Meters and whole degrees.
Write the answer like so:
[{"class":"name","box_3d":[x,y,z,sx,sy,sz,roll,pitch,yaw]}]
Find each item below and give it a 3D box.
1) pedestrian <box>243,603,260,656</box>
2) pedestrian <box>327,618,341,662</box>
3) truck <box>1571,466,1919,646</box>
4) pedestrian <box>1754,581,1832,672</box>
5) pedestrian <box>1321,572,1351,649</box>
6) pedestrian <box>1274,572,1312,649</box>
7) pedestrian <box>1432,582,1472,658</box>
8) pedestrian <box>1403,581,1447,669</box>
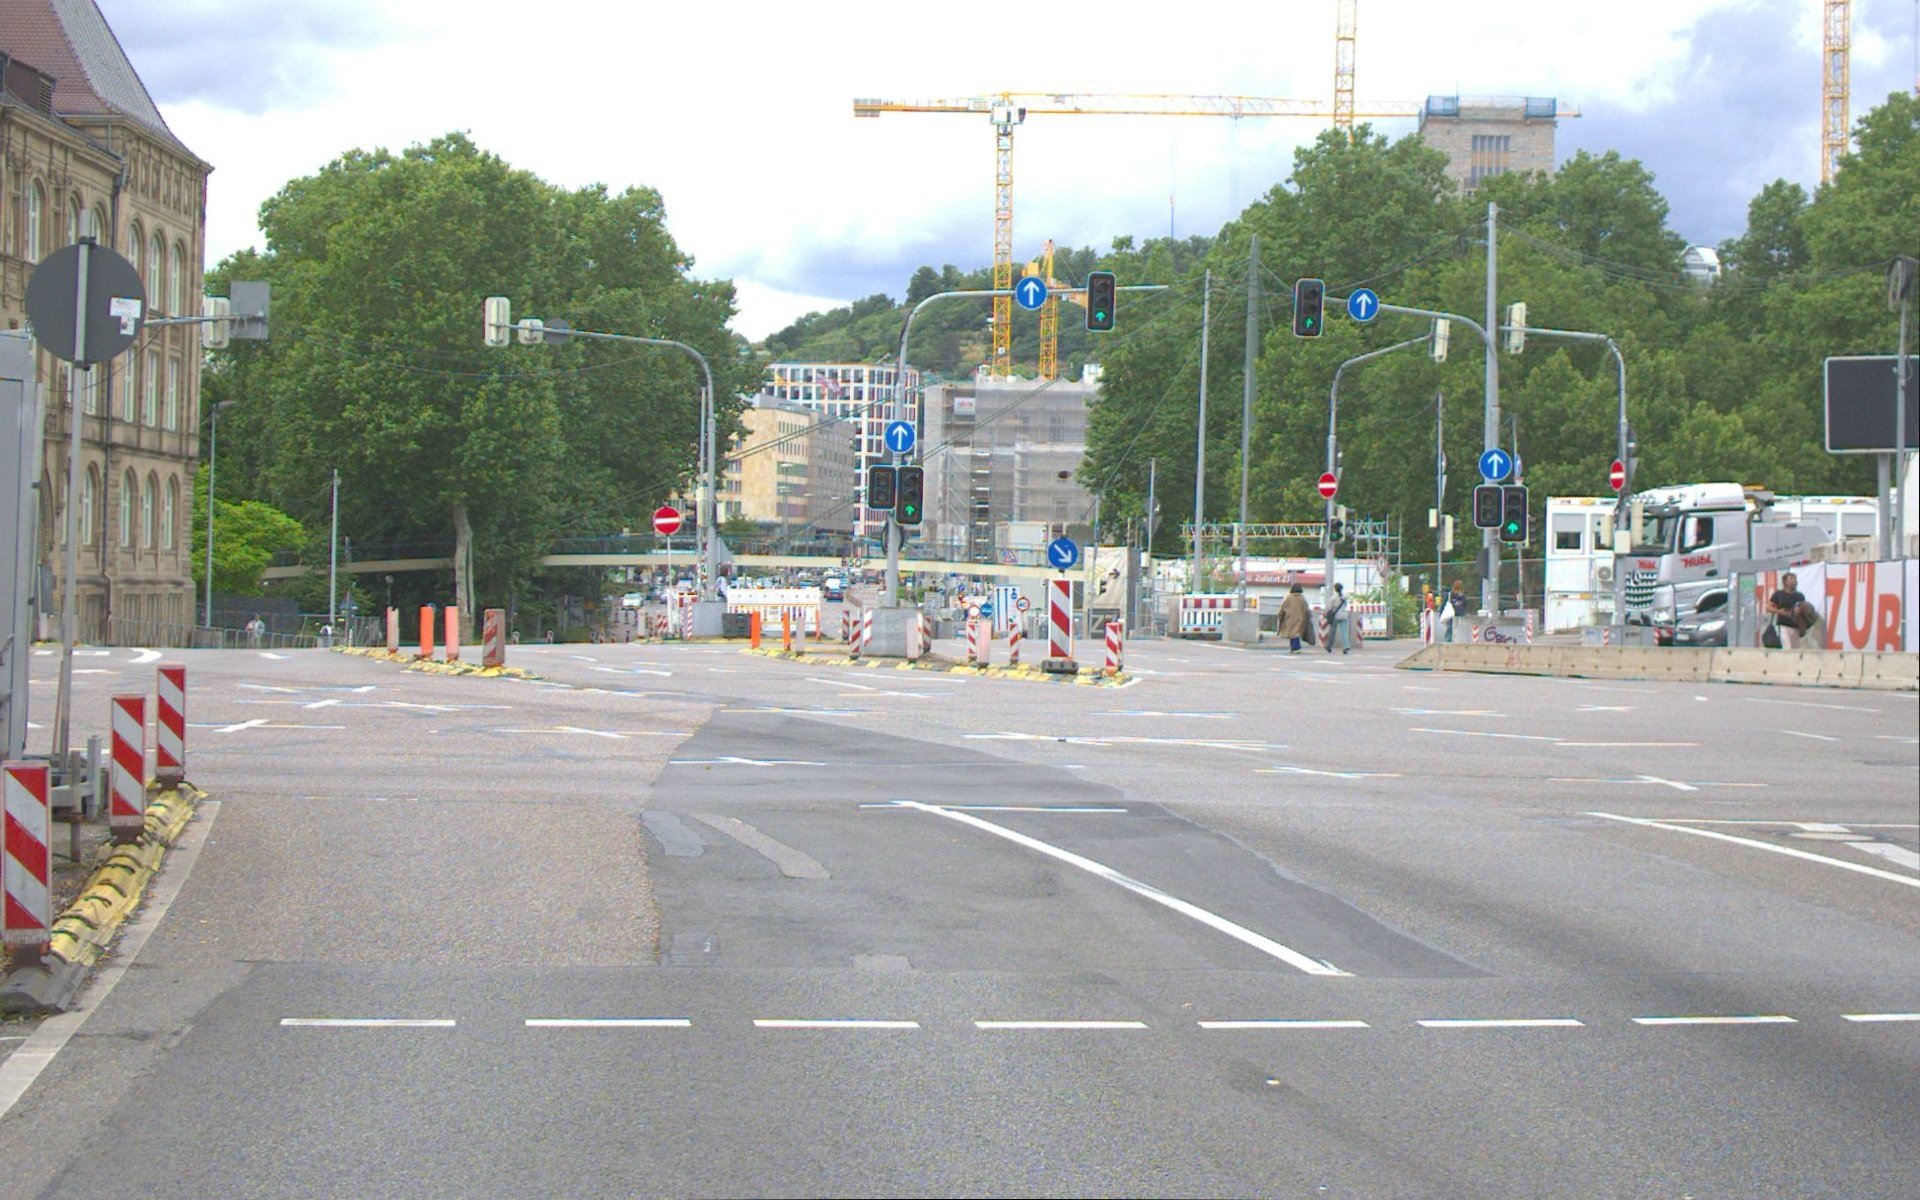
[{"class":"pedestrian","box_3d":[-27.613,1.149,134.009,0.524,2.007,0.567,1,1,0]},{"class":"pedestrian","box_3d":[-28.852,1.825,158.469,0.524,2.007,0.567,1,1,0]},{"class":"truck","box_3d":[21.359,-0.987,81.999,13.022,4.027,3.952,1,1,-20]},{"class":"pedestrian","box_3d":[12.974,0.413,53.554,0.796,1.373,0.905,1,1,-15]},{"class":"pedestrian","box_3d":[8.380,0.231,76.635,0.566,1.683,0.472,1,1,-1]},{"class":"pedestrian","box_3d":[7.411,0.227,76.643,0.729,1.683,0.678,1,1,-1]},{"class":"pedestrian","box_3d":[11.112,0.452,77.642,0.622,1.683,0.710,2,1,29]},{"class":"pedestrian","box_3d":[9.130,0.488,67.549,0.729,1.683,0.678,1,1,-1]}]
